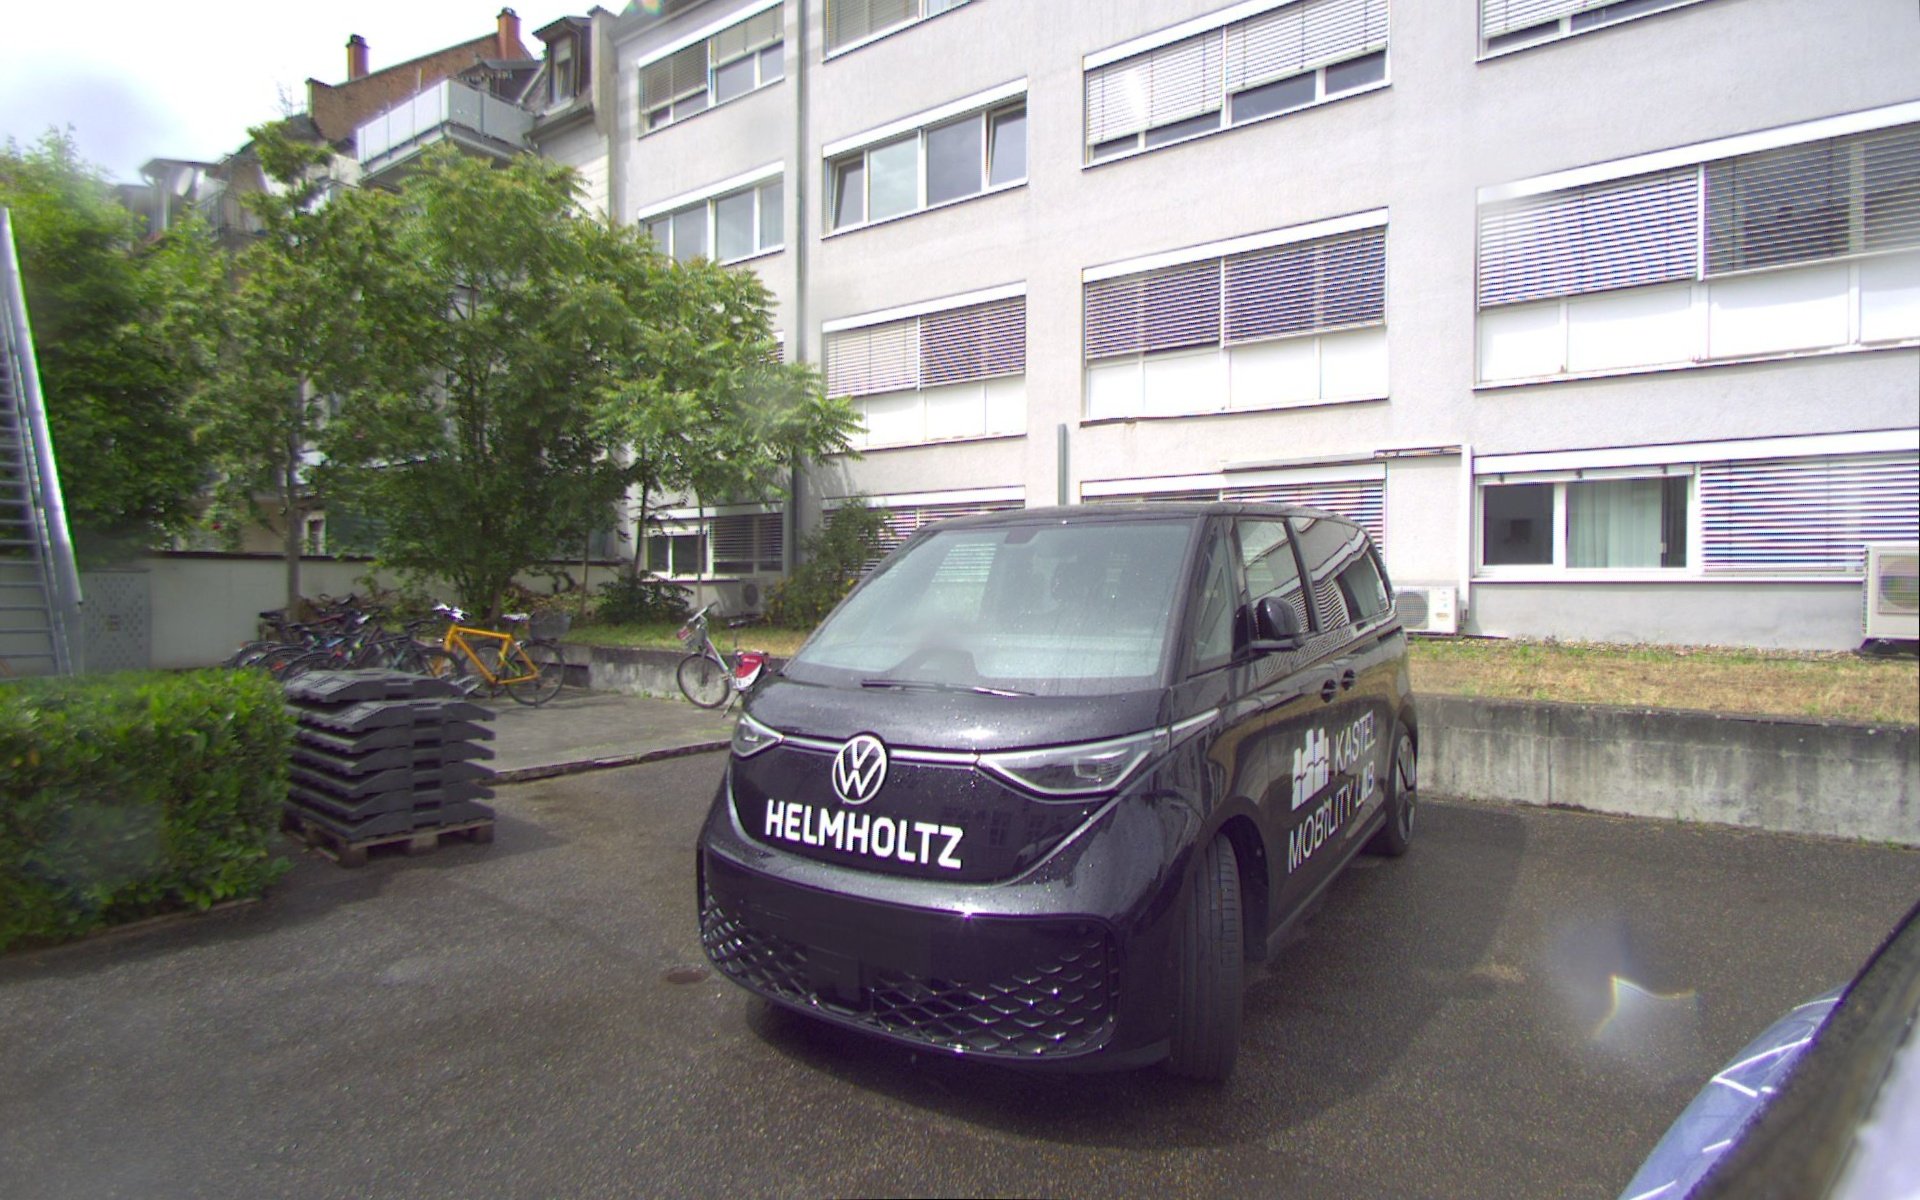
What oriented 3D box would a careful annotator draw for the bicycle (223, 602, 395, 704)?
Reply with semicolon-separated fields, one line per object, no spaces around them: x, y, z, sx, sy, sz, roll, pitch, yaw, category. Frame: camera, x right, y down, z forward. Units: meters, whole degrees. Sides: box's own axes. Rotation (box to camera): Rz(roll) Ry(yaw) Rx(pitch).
-7.778;0.592;12.175;0.353;1.118;1.734;1;1;35;bicycle

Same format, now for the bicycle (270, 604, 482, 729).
-5.702;0.607;9.978;0.404;1.118;1.769;1;1;43;bicycle

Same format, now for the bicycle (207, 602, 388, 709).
-7.545;0.597;11.613;0.343;1.118;1.734;1;1;35;bicycle

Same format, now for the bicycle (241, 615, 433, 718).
-6.634;0.671;10.872;0.328;0.979;1.774;1;1;35;bicycle

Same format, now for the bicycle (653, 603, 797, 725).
-2.466;0.626;10.508;1.788;1.117;0.441;1;3;39;bicycle

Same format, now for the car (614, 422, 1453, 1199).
0.935;0.462;4.847;1.957;1.888;4.691;0;2;34;car

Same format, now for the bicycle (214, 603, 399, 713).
-7.209;0.601;11.254;0.340;1.118;1.734;1;1;35;bicycle

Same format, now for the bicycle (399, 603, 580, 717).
-5.026;0.602;10.915;0.366;1.118;1.769;1;1;43;bicycle

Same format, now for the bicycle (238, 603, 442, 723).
-6.352;0.605;10.454;0.353;1.118;1.769;1;1;43;bicycle

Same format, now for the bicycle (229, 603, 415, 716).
-6.917;0.601;11.062;0.331;1.118;1.734;1;1;35;bicycle

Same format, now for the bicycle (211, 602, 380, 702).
-8.076;0.591;12.381;0.340;1.118;1.734;1;1;35;bicycle
